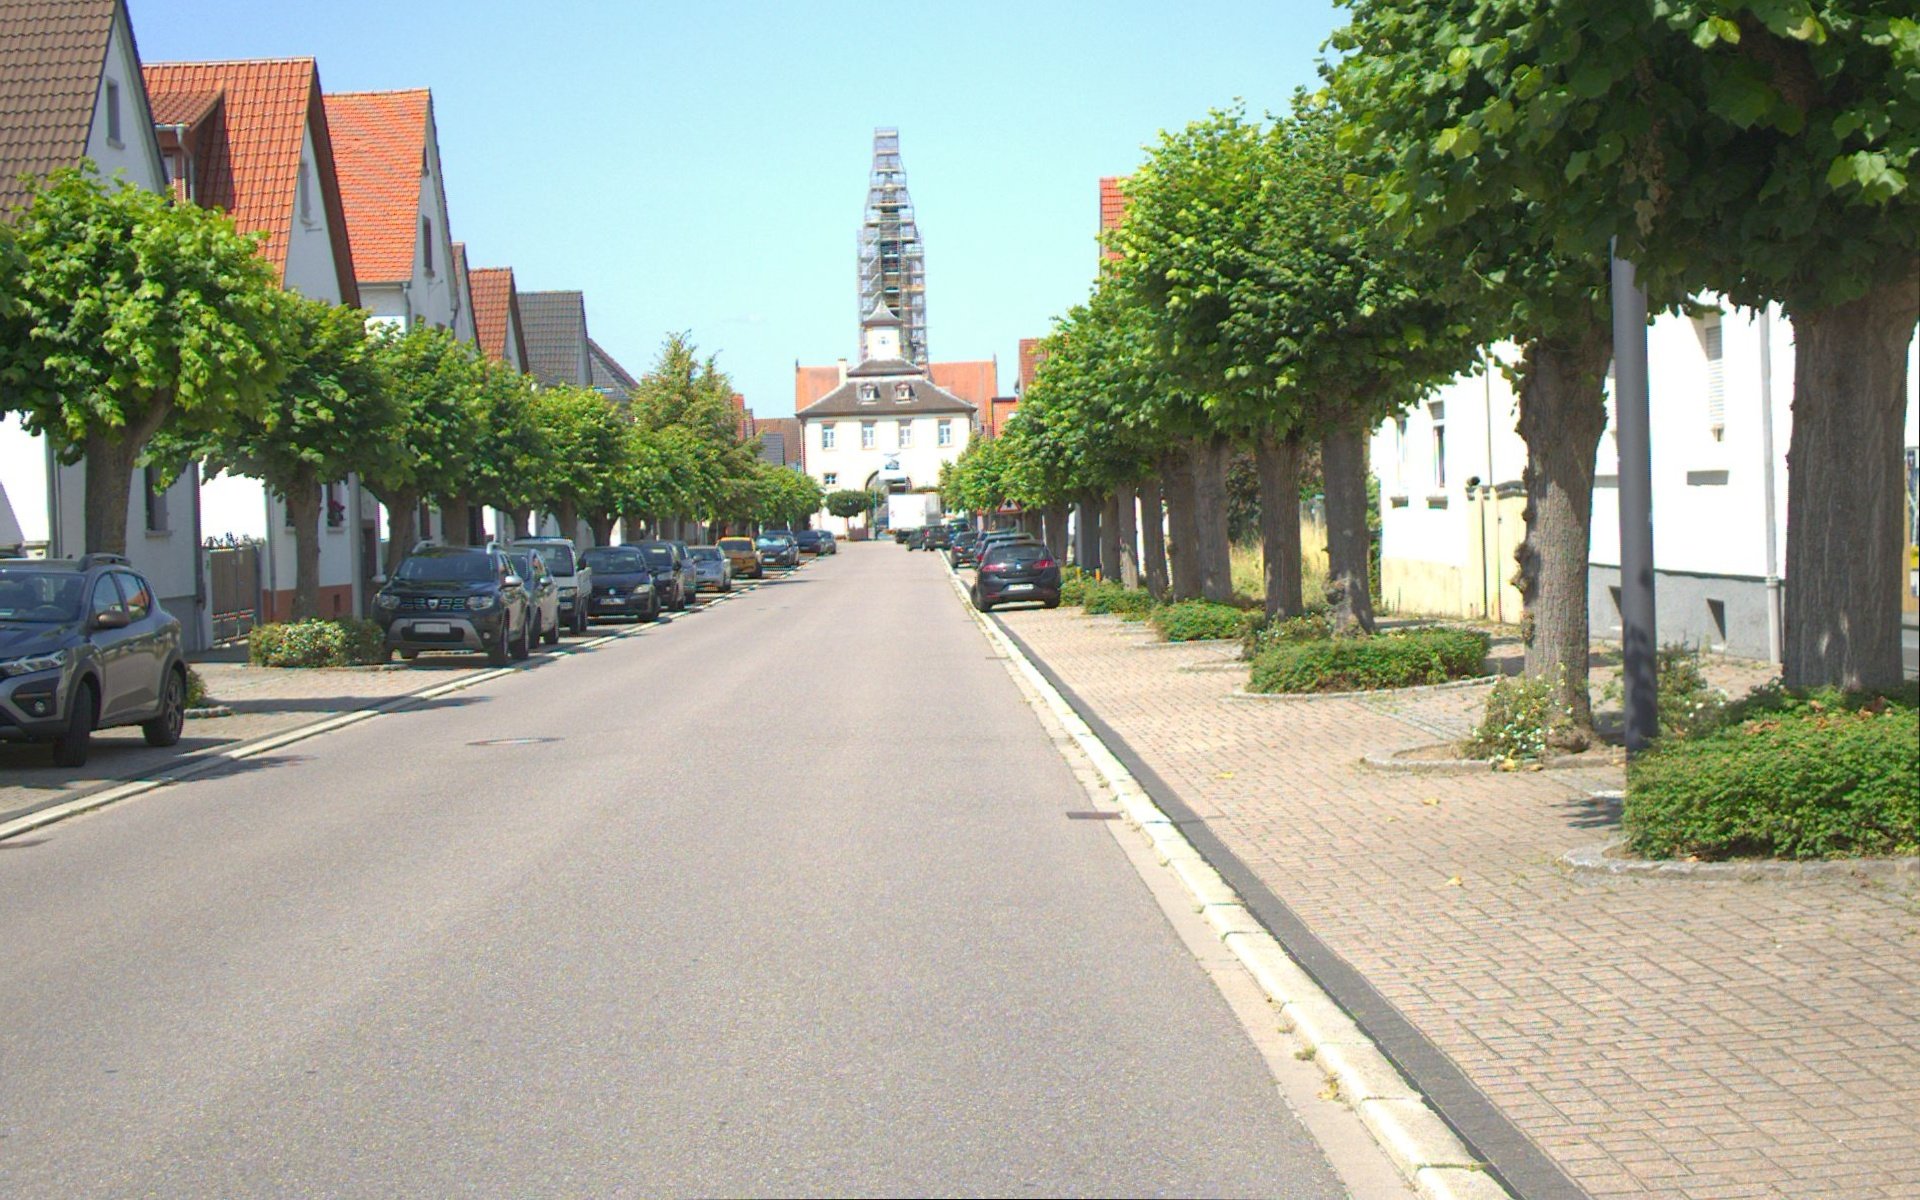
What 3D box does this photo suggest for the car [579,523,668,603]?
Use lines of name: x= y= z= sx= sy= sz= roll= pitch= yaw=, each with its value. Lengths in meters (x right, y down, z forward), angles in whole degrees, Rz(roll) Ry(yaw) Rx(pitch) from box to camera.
car: x=-7.030 y=-0.781 z=71.599 sx=1.785 sy=1.628 sz=4.001 roll=0 pitch=1 yaw=-6

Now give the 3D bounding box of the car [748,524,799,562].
car: x=-8.438 y=-2.589 z=156.112 sx=1.993 sy=1.606 sz=4.689 roll=1 pitch=2 yaw=0

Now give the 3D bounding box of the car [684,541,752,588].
car: x=-7.322 y=-1.087 z=104.484 sx=1.840 sy=1.391 sz=4.407 roll=0 pitch=1 yaw=-1

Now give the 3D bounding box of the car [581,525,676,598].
car: x=-7.700 y=-0.892 z=80.065 sx=1.853 sy=1.629 sz=4.057 roll=1 pitch=1 yaw=-1

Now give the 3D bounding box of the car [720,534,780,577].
car: x=-8.174 y=-1.746 z=134.227 sx=1.993 sy=1.606 sz=4.689 roll=1 pitch=1 yaw=0

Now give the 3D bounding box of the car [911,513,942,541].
car: x=-1.949 y=-4.233 z=199.915 sx=1.729 sy=1.542 sz=3.455 roll=1 pitch=1 yaw=-1

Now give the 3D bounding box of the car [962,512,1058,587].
car: x=1.017 y=-1.074 z=72.071 sx=1.824 sy=1.427 sz=4.057 roll=-3 pitch=1 yaw=-1

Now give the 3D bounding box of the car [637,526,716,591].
car: x=-7.373 y=-1.096 z=89.720 sx=1.993 sy=1.647 sz=4.368 roll=0 pitch=1 yaw=-4

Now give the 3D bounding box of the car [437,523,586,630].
car: x=-7.157 y=-0.387 z=55.248 sx=1.853 sy=1.607 sz=4.371 roll=1 pitch=1 yaw=-1

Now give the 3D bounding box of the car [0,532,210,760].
car: x=-7.229 y=0.284 z=26.597 sx=1.853 sy=1.607 sz=4.135 roll=1 pitch=1 yaw=1

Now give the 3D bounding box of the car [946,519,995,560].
car: x=0.411 y=-2.505 z=141.772 sx=1.837 sy=1.550 sz=4.314 roll=-3 pitch=1 yaw=-1

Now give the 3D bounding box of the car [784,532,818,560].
car: x=-9.171 y=-3.131 z=198.871 sx=1.757 sy=1.550 sz=4.020 roll=-1 pitch=1 yaw=0

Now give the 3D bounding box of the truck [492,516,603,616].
truck: x=-7.561 y=-0.635 z=63.279 sx=1.576 sy=1.759 sz=4.192 roll=1 pitch=1 yaw=-1

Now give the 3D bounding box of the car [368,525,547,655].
car: x=-6.829 y=-0.177 z=47.102 sx=1.853 sy=1.630 sz=4.300 roll=1 pitch=2 yaw=-1
